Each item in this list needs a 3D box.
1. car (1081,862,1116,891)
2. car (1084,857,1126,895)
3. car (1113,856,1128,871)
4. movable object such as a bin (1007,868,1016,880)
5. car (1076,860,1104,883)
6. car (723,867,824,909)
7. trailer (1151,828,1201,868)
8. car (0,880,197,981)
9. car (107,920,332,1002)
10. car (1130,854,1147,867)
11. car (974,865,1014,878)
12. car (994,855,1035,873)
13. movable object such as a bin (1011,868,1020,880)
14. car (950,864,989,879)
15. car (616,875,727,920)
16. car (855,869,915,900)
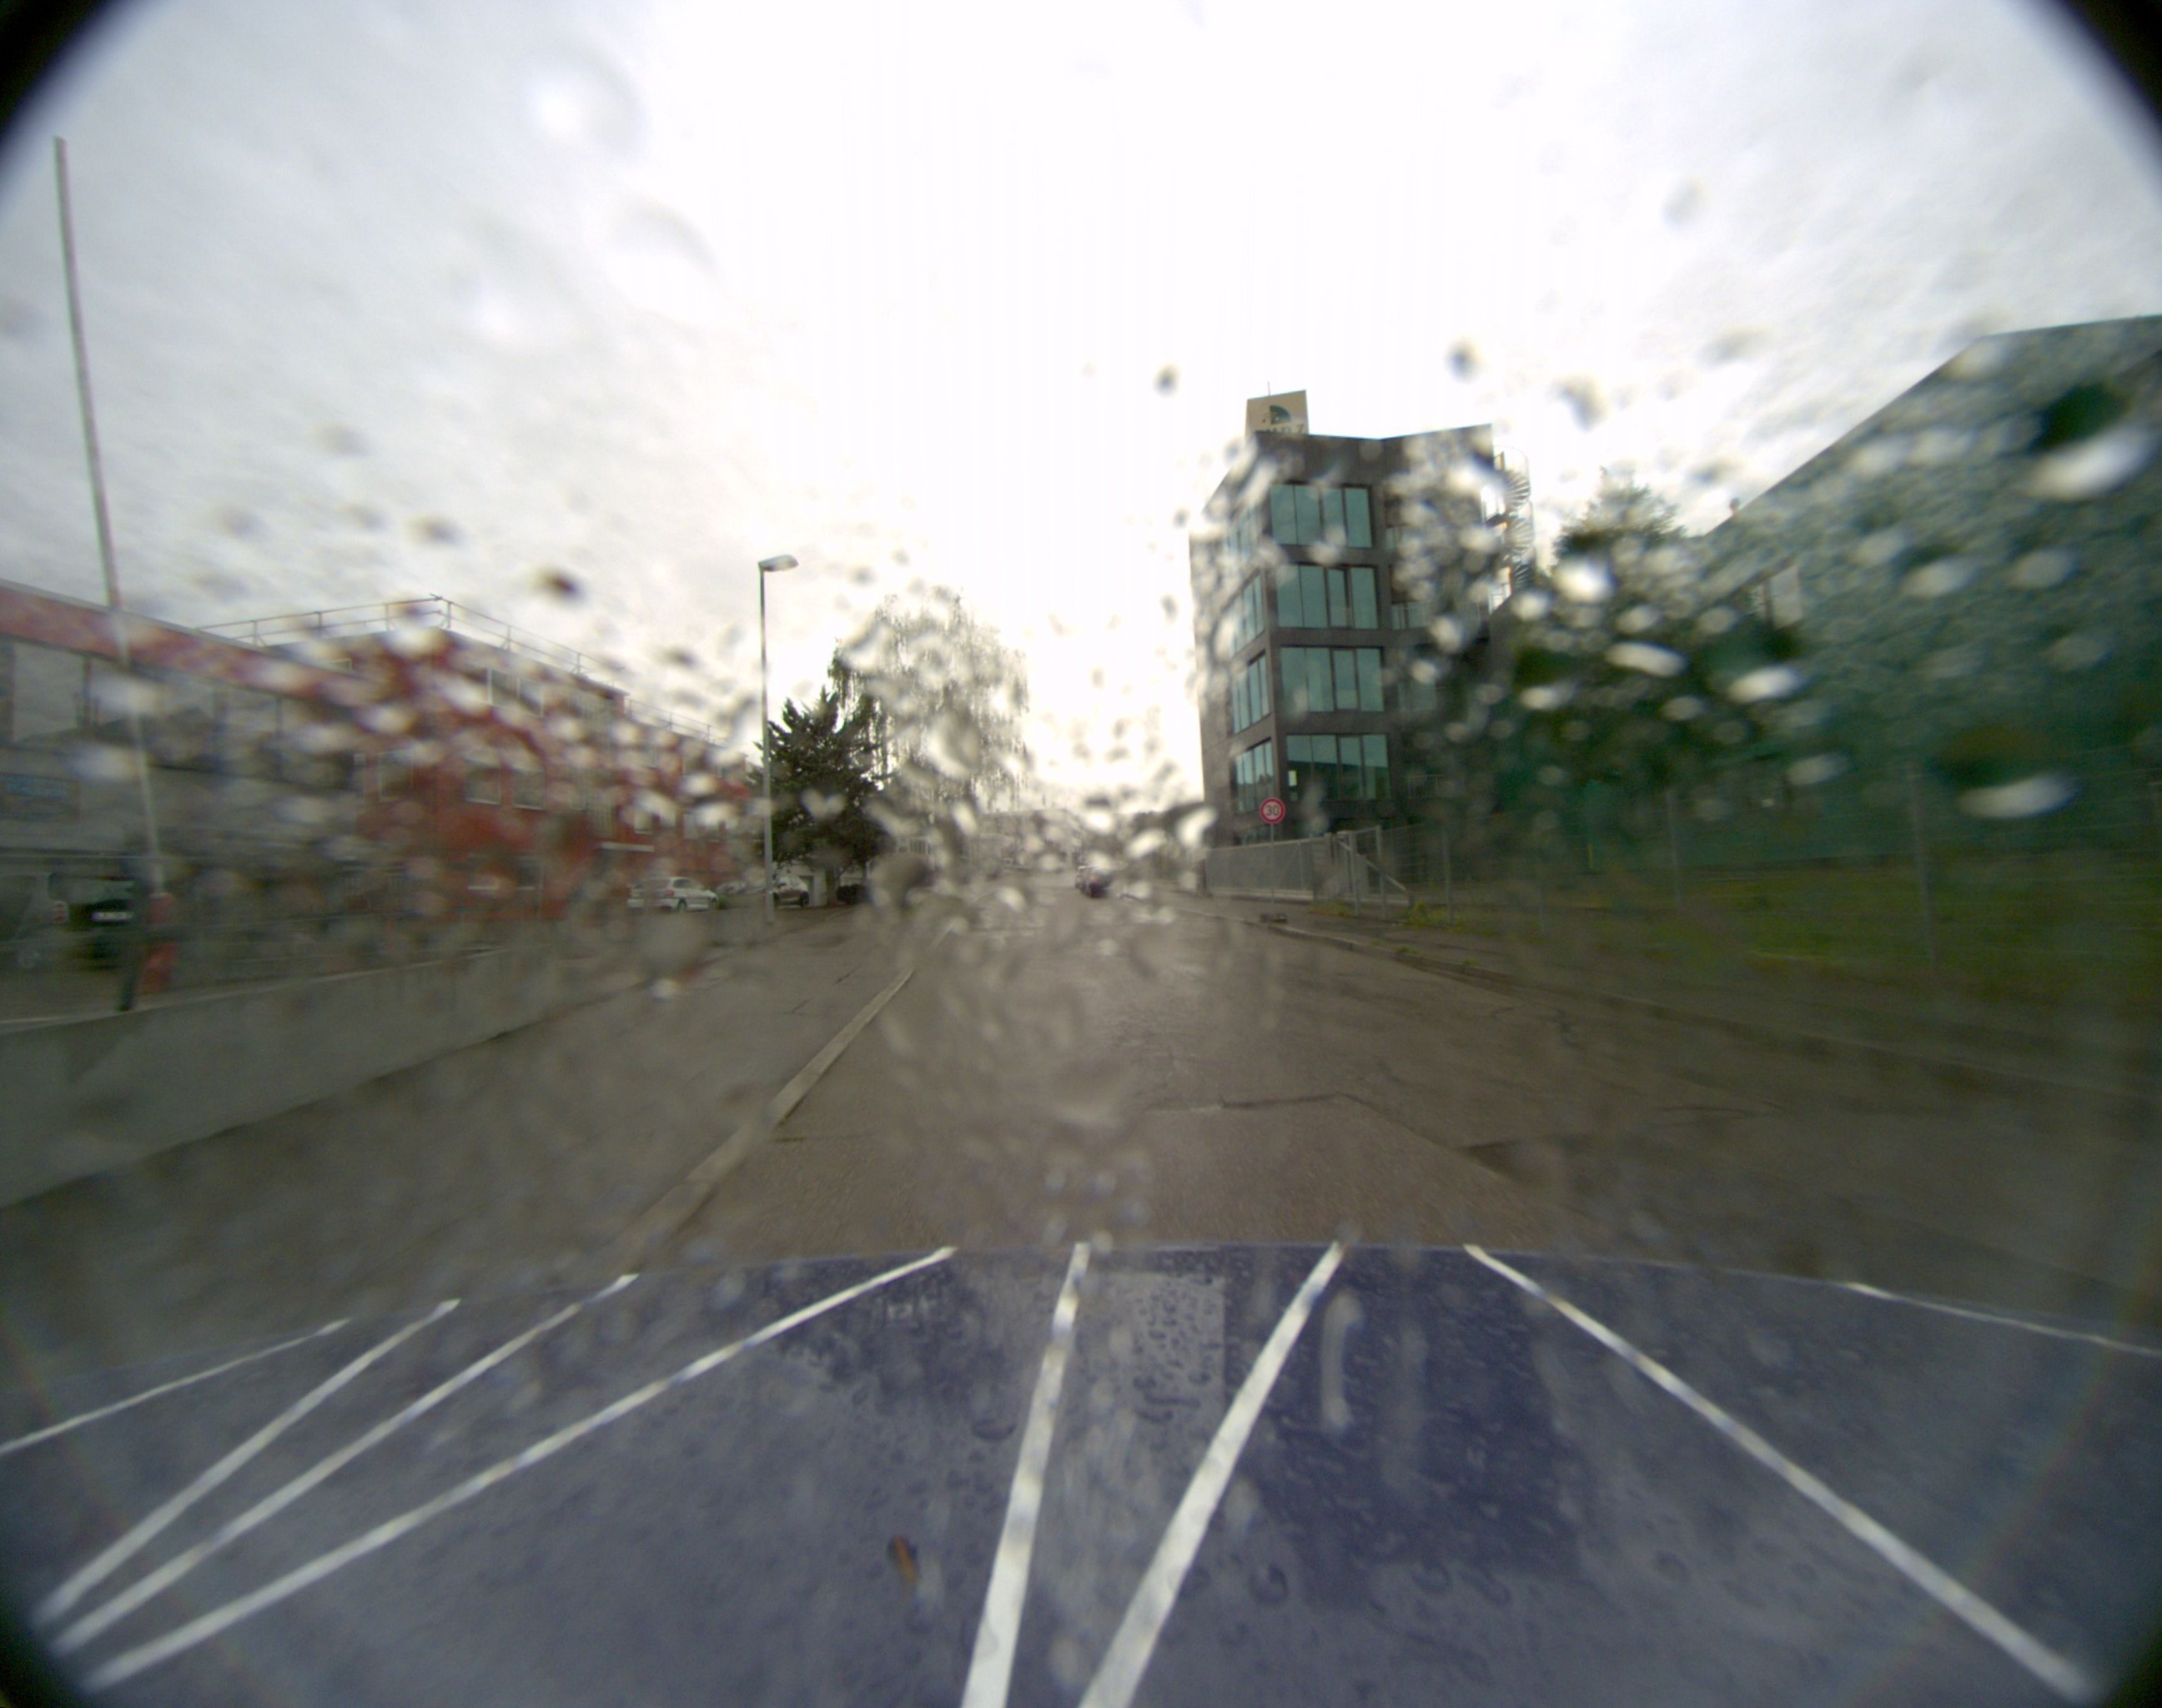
[{"bbox_3d":[0.950,1.290,44.188,1.637,1.549,4.082,-1,0,-4],"label":"car"},{"bbox_3d":[1.187,1.081,38.805,1.744,1.786,3.958,-2,0,-3],"label":"car"},{"bbox_3d":[5.356,1.318,103.233,1.998,1.901,4.002,2,-2,2],"label":"car"},{"bbox_3d":[-6.576,1.928,71.877,0.736,1.084,0.594,-2,0,3],"label":"movable object such as a bin"},{"bbox_3d":[0.598,1.233,54.512,1.740,1.527,4.249,-2,0,-2],"label":"car"},{"bbox_3d":[-13.701,1.489,34.195,1.999,1.569,4.516,-4,-1,11],"label":"car"},{"bbox_3d":[10.125,-0.643,81.222,2.394,4.065,4.687,-2,0,-43],"label":"trailer"},{"bbox_3d":[-16.378,1.183,12.146,2.717,1.438,1.679,-1,0,7],"label":"car"},{"bbox_3d":[-18.118,2.225,16.071,3.041,1.486,1.630,-1,0,5],"label":"car"},{"bbox_3d":[9.421,1.009,123.566,1.996,2.001,4.005,-2,-1,14],"label":"car"},{"bbox_3d":[-11.022,2.237,96.236,4.619,1.488,1.942,-2,0,8],"label":"car"},{"bbox_3d":[-9.260,1.330,105.564,5.148,2.280,2.204,-2,0,10],"label":"car"},{"bbox_3d":[-6.378,1.926,73.778,0.736,1.084,0.594,-2,0,3],"label":"movable object such as a bin"},{"bbox_3d":[-11.640,1.812,79.290,3.747,1.531,1.632,-1,0,6],"label":"car"},{"bbox_3d":[-14.978,1.542,28.069,1.909,1.461,4.328,-1,-1,-3],"label":"car"},{"bbox_3d":[-13.515,2.100,52.361,3.441,1.490,1.620,-11,-2,12],"label":"car"}]
